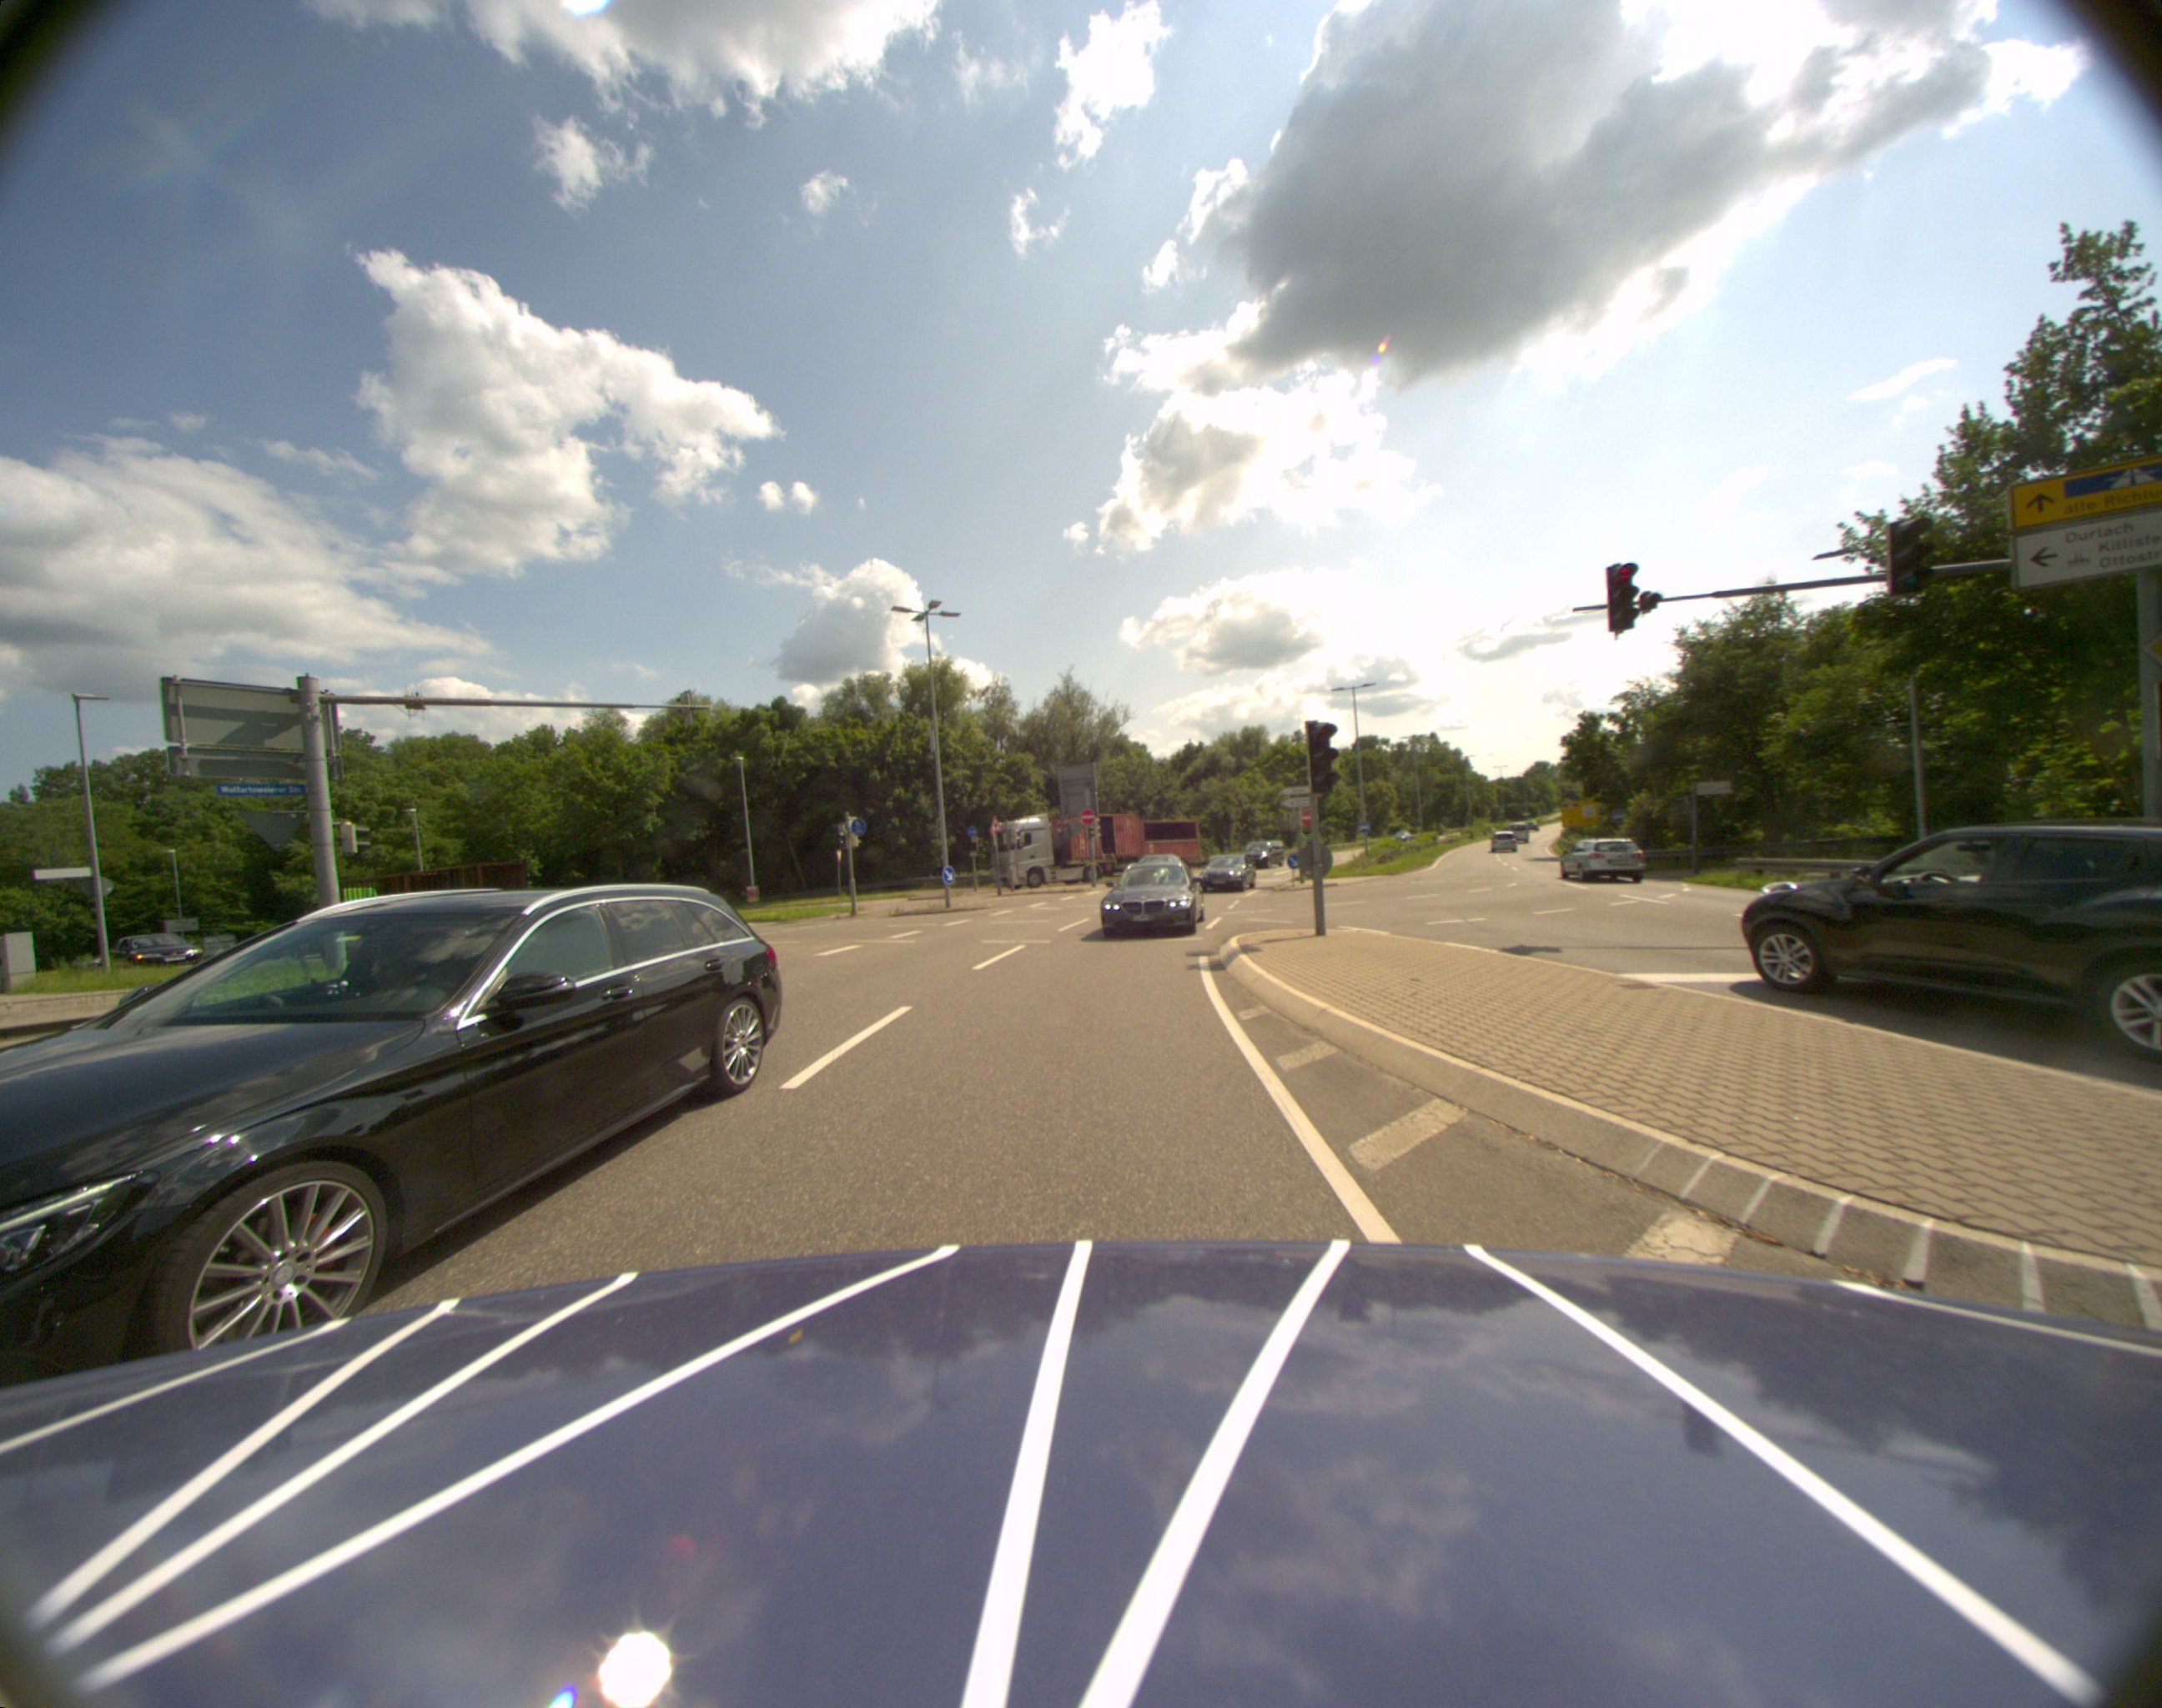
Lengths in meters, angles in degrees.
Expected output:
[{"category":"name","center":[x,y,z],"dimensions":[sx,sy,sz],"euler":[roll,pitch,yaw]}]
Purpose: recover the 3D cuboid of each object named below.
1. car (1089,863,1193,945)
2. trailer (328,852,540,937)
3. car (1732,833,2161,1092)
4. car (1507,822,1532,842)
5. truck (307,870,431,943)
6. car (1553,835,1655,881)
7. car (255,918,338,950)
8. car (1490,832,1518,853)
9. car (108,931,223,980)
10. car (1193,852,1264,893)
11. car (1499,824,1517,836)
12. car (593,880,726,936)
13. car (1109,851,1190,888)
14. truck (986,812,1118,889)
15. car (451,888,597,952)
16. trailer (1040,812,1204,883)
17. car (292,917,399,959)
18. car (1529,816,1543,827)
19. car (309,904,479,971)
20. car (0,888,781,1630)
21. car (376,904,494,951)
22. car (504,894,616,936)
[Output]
[{"category":"car","center":[1.404,0.972,16.129],"dimensions":[1.857,1.355,4.002],"euler":[-1,1,9]},{"category":"trailer","center":[-37.962,2.437,44.386],"dimensions":[13.820,3.868,2.651],"euler":[-5,0,20]},{"category":"car","center":[7.424,0.648,5.726],"dimensions":[1.702,1.548,3.821],"euler":[-2,0,-1]},{"category":"car","center":[44.089,-2.225,76.487],"dimensions":[1.995,2.002,5.143],"euler":[0,2,28]},{"category":"truck","center":[-43.248,3.171,46.190],"dimensions":[5.866,3.880,2.881],"euler":[-5,0,19]},{"category":"car","center":[18.350,0.100,26.902],"dimensions":[1.684,1.469,4.718],"euler":[-1,1,18]},{"category":"car","center":[-40.033,4.079,38.753],"dimensions":[4.040,1.367,1.883],"euler":[-4,-1,28]},{"category":"car","center":[32.919,-0.923,59.187],"dimensions":[1.734,1.512,4.075],"euler":[-1,1,27]},{"category":"car","center":[-34.428,3.815,28.559],"dimensions":[3.991,1.455,1.870],"euler":[-5,1,28]},{"category":"car","center":[5.943,0.707,30.334],"dimensions":[1.855,1.403,4.006],"euler":[-3,0,24]},{"category":"car","center":[51.262,-2.896,91.234],"dimensions":[1.582,1.424,4.007],"euler":[-1,1,33]},{"category":"car","center":[-14.524,1.859,26.152],"dimensions":[4.285,1.607,1.848],"euler":[-4,1,28]},{"category":"car","center":[3.165,0.674,34.538],"dimensions":[1.855,1.403,4.007],"euler":[-3,0,35]},{"category":"truck","center":[-1.527,-0.243,42.446],"dimensions":[6.831,3.822,2.772],"euler":[-4,0,-38]},{"category":"car","center":[-16.750,1.991,22.843],"dimensions":[4.206,1.636,1.841],"euler":[-4,-1,28]},{"category":"trailer","center":[2.950,-0.574,47.103],"dimensions":[2.773,3.827,12.343],"euler":[-3,0,42]},{"category":"car","center":[-28.206,3.232,29.103],"dimensions":[4.206,1.367,1.704],"euler":[-4,-1,28]},{"category":"car","center":[67.722,-4.847,113.041],"dimensions":[1.711,1.577,4.289],"euler":[0,2,33]},{"category":"car","center":[-17.018,2.058,18.792],"dimensions":[4.206,1.367,1.762],"euler":[-4,-1,28]},{"category":"car","center":[-3.266,1.040,3.511],"dimensions":[1.795,1.427,4.369],"euler":[-3,1,2]},{"category":"car","center":[-22.422,2.552,26.331],"dimensions":[4.206,1.367,1.649],"euler":[-4,-1,28]},{"category":"car","center":[-20.376,2.390,29.665],"dimensions":[4.532,1.367,1.649],"euler":[-4,-1,28]}]
